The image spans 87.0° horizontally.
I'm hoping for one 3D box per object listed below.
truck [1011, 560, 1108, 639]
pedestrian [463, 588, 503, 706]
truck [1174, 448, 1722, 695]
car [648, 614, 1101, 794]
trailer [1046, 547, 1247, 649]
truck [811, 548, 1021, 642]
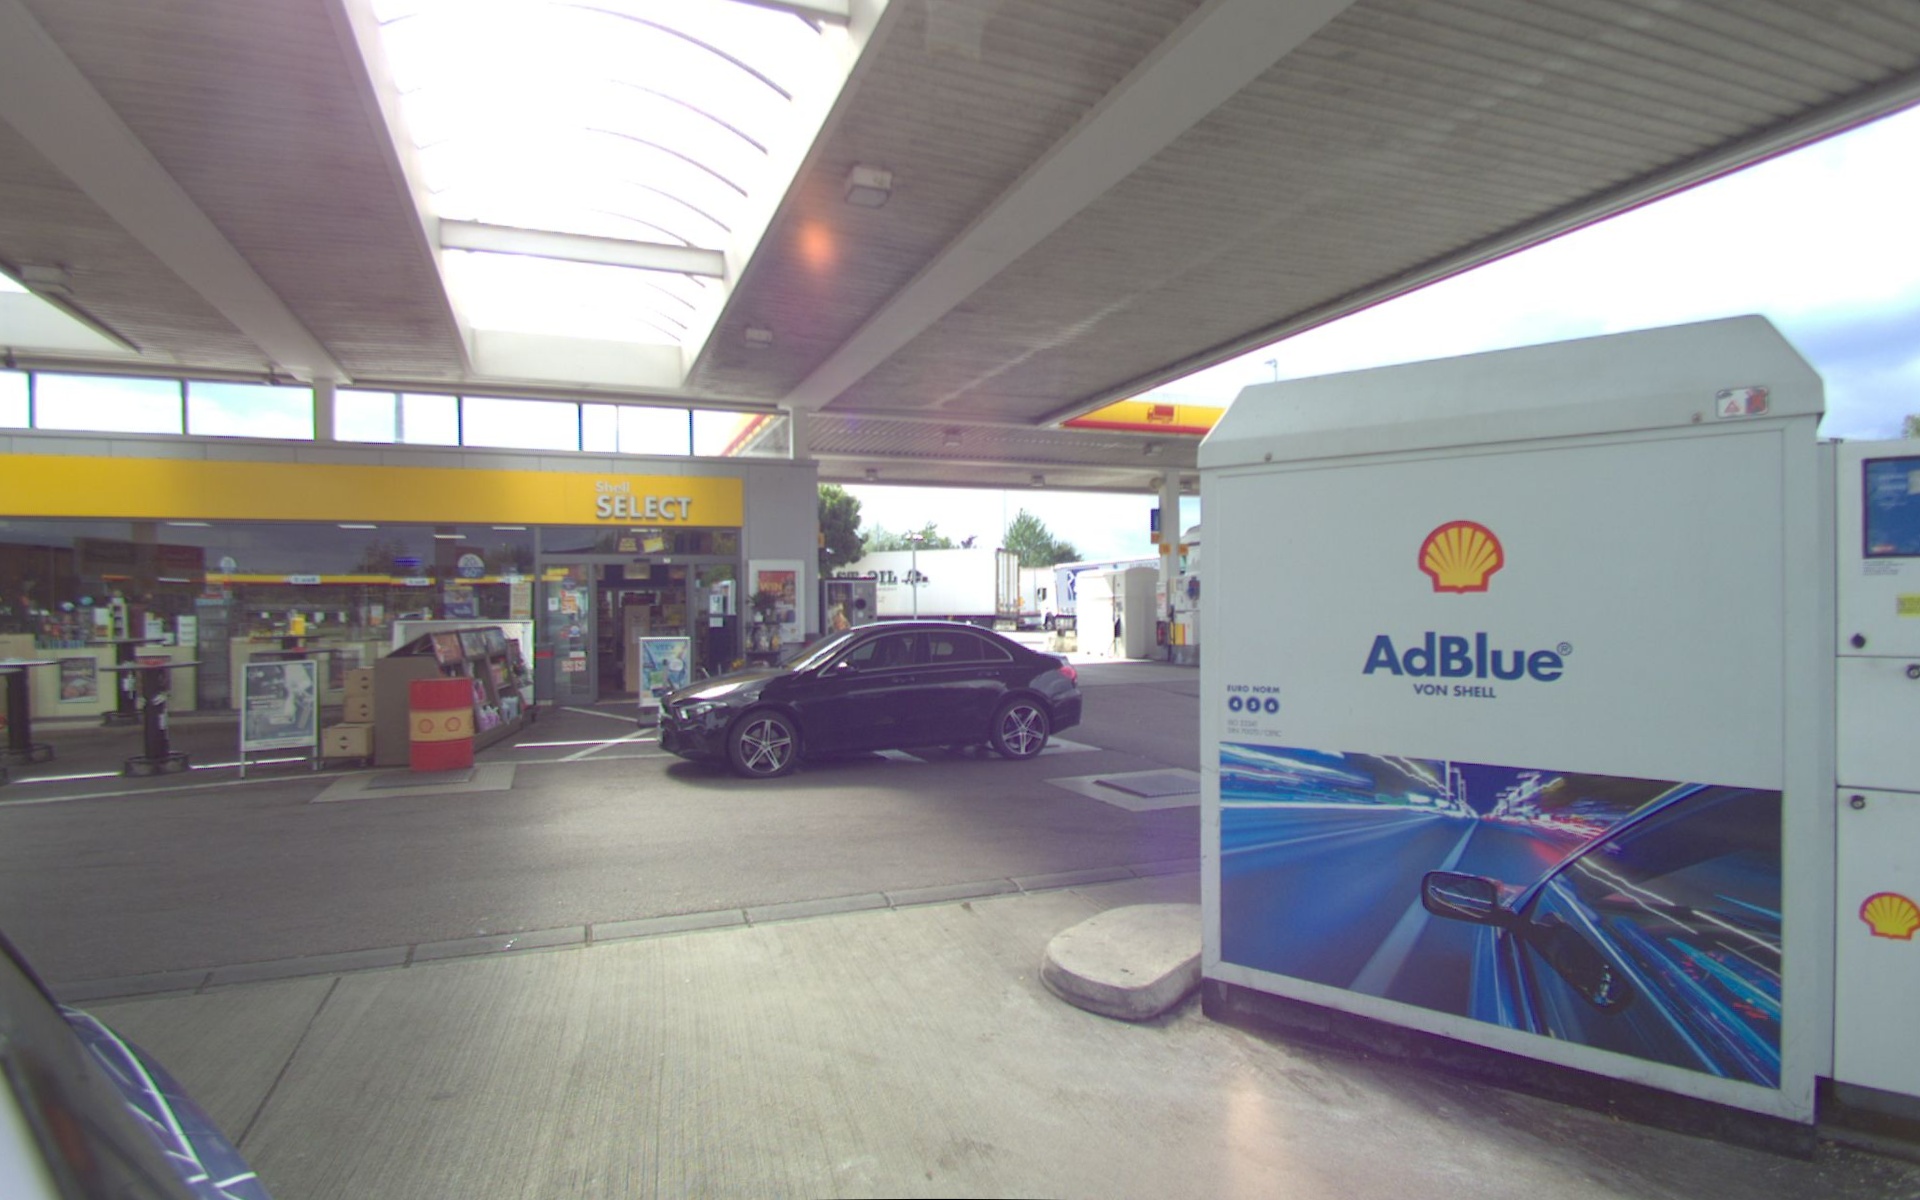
[{"bbox_3d":[5.911,-0.028,61.229,3.333,4.538,6.249,-1,0,-20],"label":"truck"},{"bbox_3d":[-7.956,0.766,16.889,0.500,1.920,0.583,-1,0,-17],"label":"pedestrian"},{"bbox_3d":[9.645,-0.451,23.110,2.491,4.069,12.947,-1,0,-22],"label":"truck"},{"bbox_3d":[-0.901,0.948,10.628,4.394,1.511,1.785,-1,0,-21],"label":"car"},{"bbox_3d":[9.089,-0.079,52.681,3.294,4.600,14.397,-1,0,-20],"label":"trailer"},{"bbox_3d":[-2.118,-0.166,46.846,9.536,4.036,2.772,-1,0,25],"label":"truck"}]
